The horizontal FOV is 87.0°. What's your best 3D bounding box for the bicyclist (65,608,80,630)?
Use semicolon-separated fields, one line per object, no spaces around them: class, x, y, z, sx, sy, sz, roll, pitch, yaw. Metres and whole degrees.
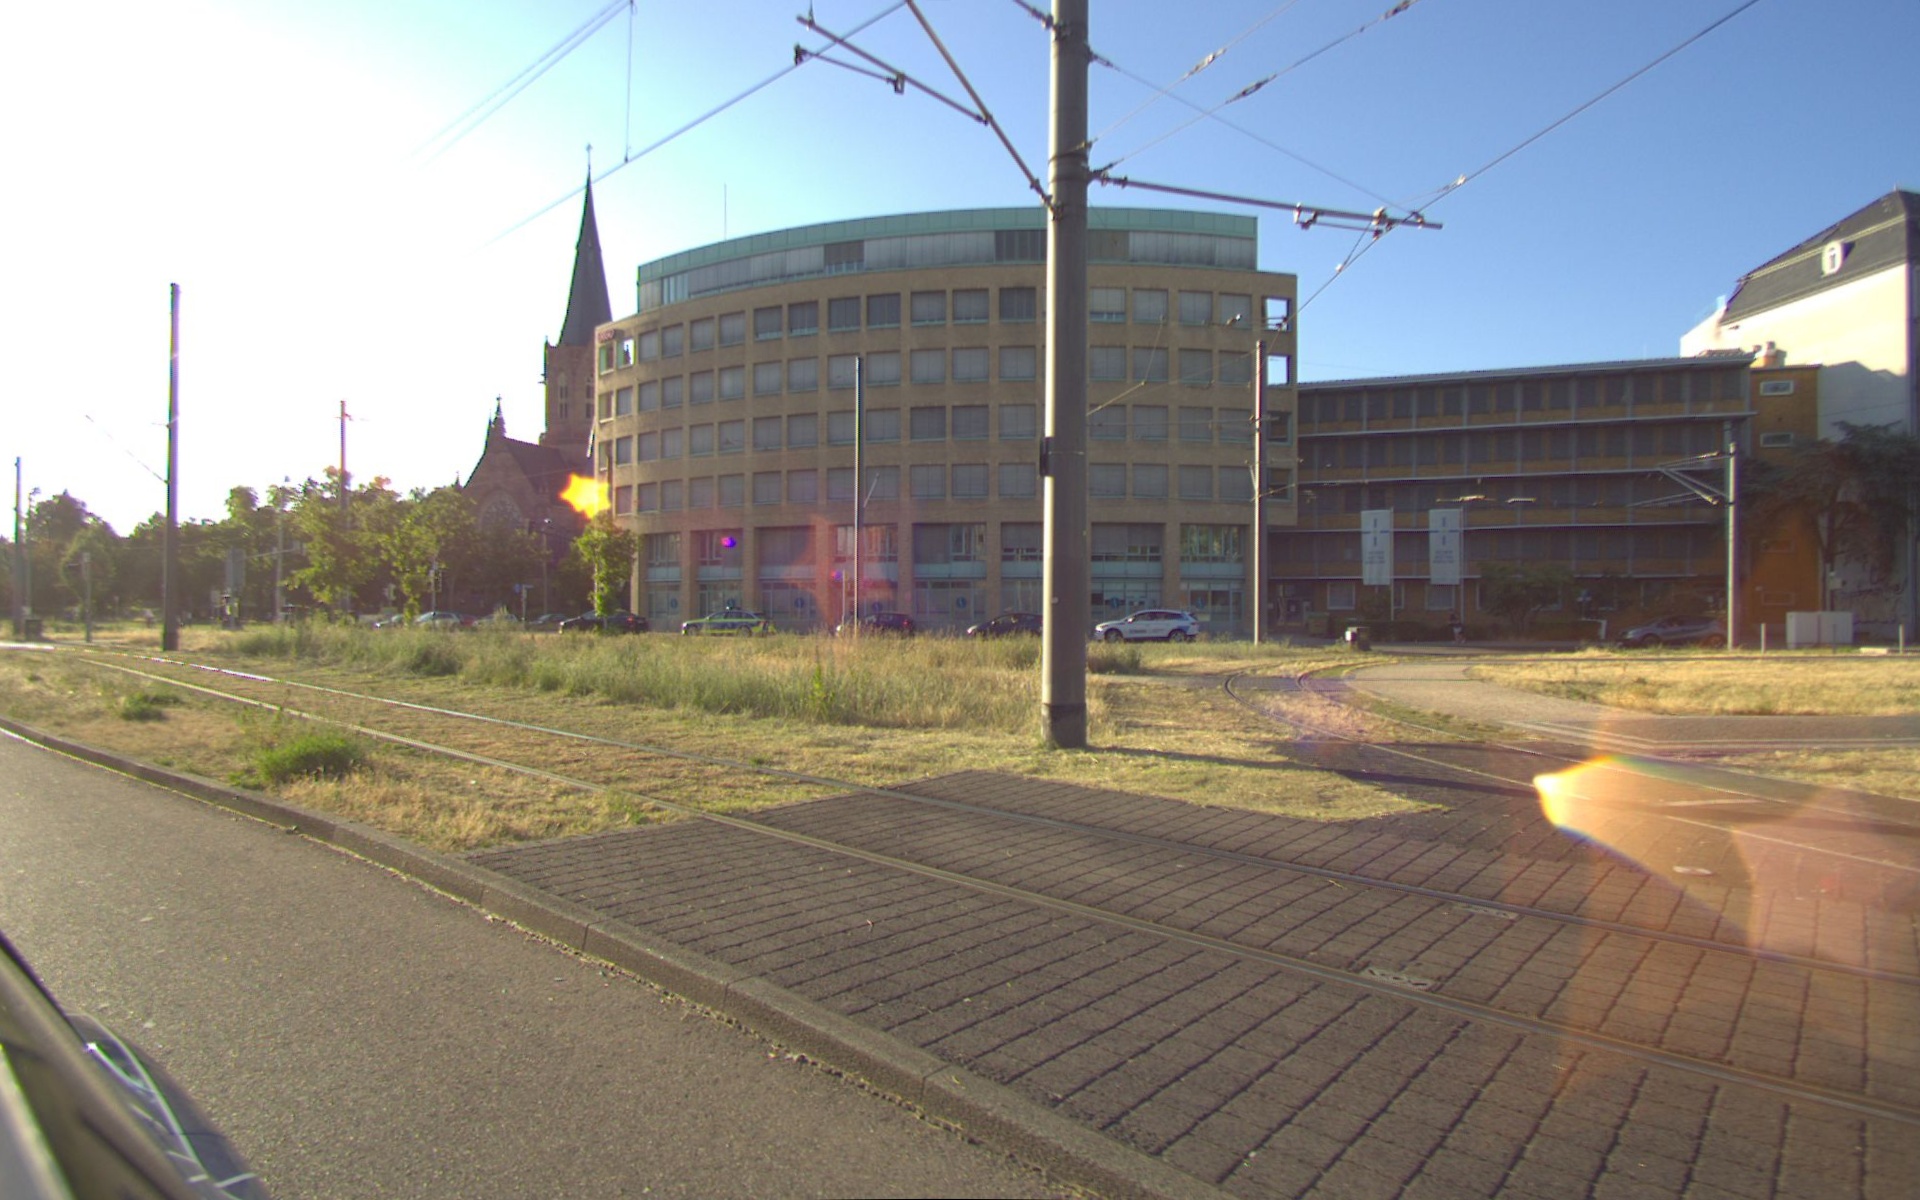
bicyclist;-73.691;1.572;84.050;0.887;1.841;0.571;-1;0;18

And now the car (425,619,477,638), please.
car;-44.089;2.436;87.714;1.810;1.597;3.976;-1;-1;18

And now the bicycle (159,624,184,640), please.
bicycle;-58.921;2.364;75.604;1.903;1.155;0.457;-1;0;18

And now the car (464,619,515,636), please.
car;-40.703;2.324;87.637;1.887;1.431;3.975;0;-1;18

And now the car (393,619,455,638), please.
car;-41.244;2.157;78.013;1.889;1.431;3.971;-1;-1;22

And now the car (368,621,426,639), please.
car;-45.998;2.433;82.765;1.887;1.431;3.975;0;-1;18

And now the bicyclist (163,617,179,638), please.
bicyclist;-58.941;2.059;75.602;0.814;1.595;0.518;-1;0;18

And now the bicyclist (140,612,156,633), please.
bicyclist;-64.862;1.800;80.842;0.887;1.693;0.571;-1;0;18

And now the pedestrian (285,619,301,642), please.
pedestrian;-49.912;2.295;75.769;0.712;1.685;0.733;-1;-1;21

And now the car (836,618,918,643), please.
car;-3.921;1.430;47.766;3.568;1.162;1.516;-1;-1;17

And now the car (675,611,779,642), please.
car;-11.558;1.292;50.296;4.738;1.491;1.885;-1;-1;16

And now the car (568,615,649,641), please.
car;-18.354;1.455;52.846;3.759;1.292;1.719;0;-1;19

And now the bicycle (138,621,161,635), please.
bicycle;-64.747;2.241;80.842;1.915;1.034;0.457;-1;0;19

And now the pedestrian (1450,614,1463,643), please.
pedestrian;25.065;1.443;51.083;0.481;1.441;0.412;-1;-1;19

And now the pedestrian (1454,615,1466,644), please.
pedestrian;24.885;1.448;50.384;0.481;1.441;0.412;-1;-1;19

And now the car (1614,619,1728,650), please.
car;30.821;1.498;43.976;3.696;1.268;1.562;-1;-1;17

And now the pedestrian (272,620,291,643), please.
pedestrian;-50.318;2.304;75.053;1.097;1.685;0.733;-1;-1;22

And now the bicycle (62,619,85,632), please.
bicycle;-73.631;2.091;84.018;1.914;1.034;0.522;-1;2;19

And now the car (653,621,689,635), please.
car;-31.808;3.082;111.389;1.887;1.431;3.975;0;-1;18

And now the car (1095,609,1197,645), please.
car;8.125;1.178;44.340;4.263;1.493;1.770;-1;-1;11

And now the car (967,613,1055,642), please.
car;2.318;1.239;45.925;3.706;1.291;1.643;-1;-1;16
